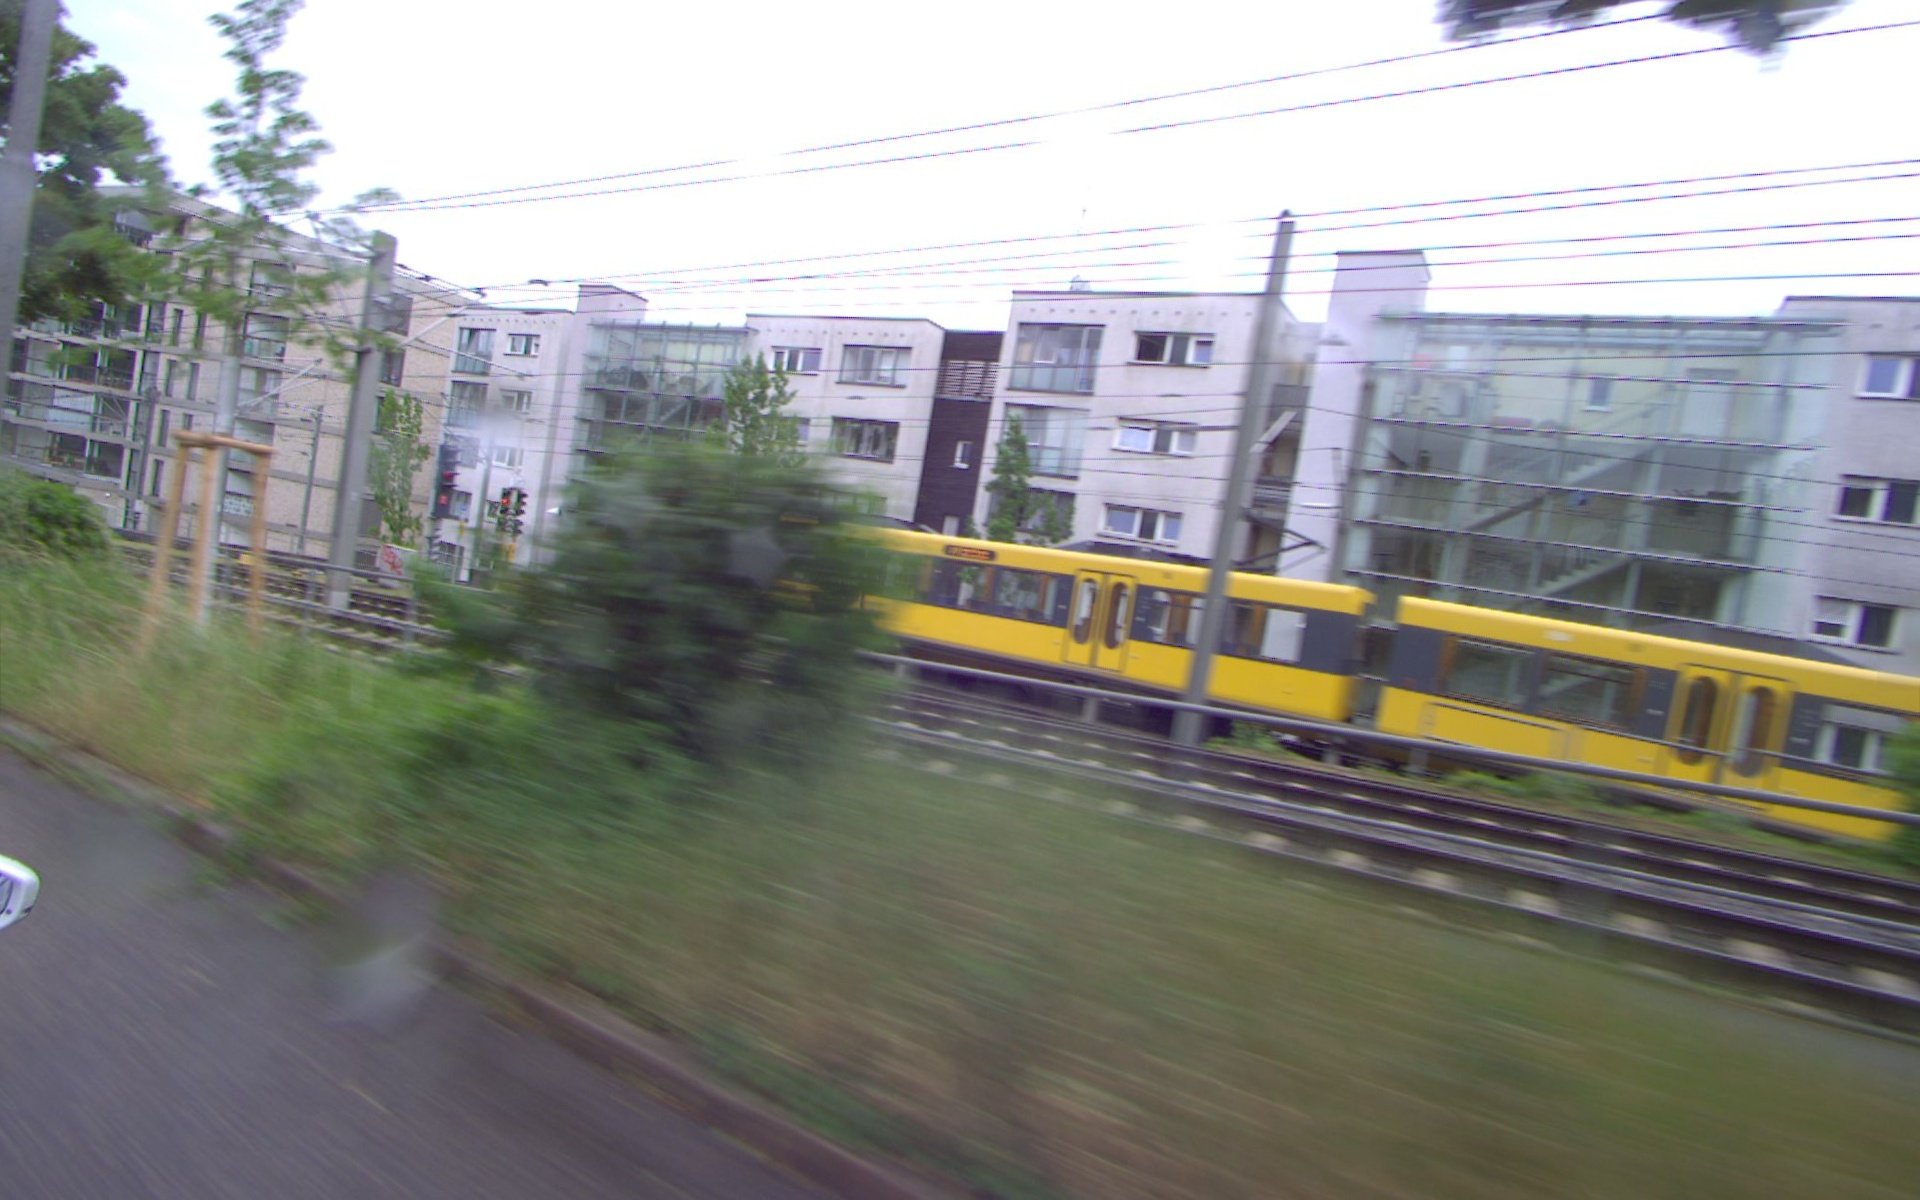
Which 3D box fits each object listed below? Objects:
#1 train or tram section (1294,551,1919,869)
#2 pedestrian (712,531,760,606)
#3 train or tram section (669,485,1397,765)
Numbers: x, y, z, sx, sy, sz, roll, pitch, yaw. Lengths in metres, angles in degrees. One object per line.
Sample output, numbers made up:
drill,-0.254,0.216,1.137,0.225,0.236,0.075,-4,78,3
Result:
train or tram section,15.539,2.128,15.855,18.961,3.996,3.334,7,0,32
pedestrian,-5.994,-0.838,26.893,0.804,1.904,0.722,6,0,32
train or tram section,0.555,0.044,25.275,18.498,3.997,3.334,9,1,32
